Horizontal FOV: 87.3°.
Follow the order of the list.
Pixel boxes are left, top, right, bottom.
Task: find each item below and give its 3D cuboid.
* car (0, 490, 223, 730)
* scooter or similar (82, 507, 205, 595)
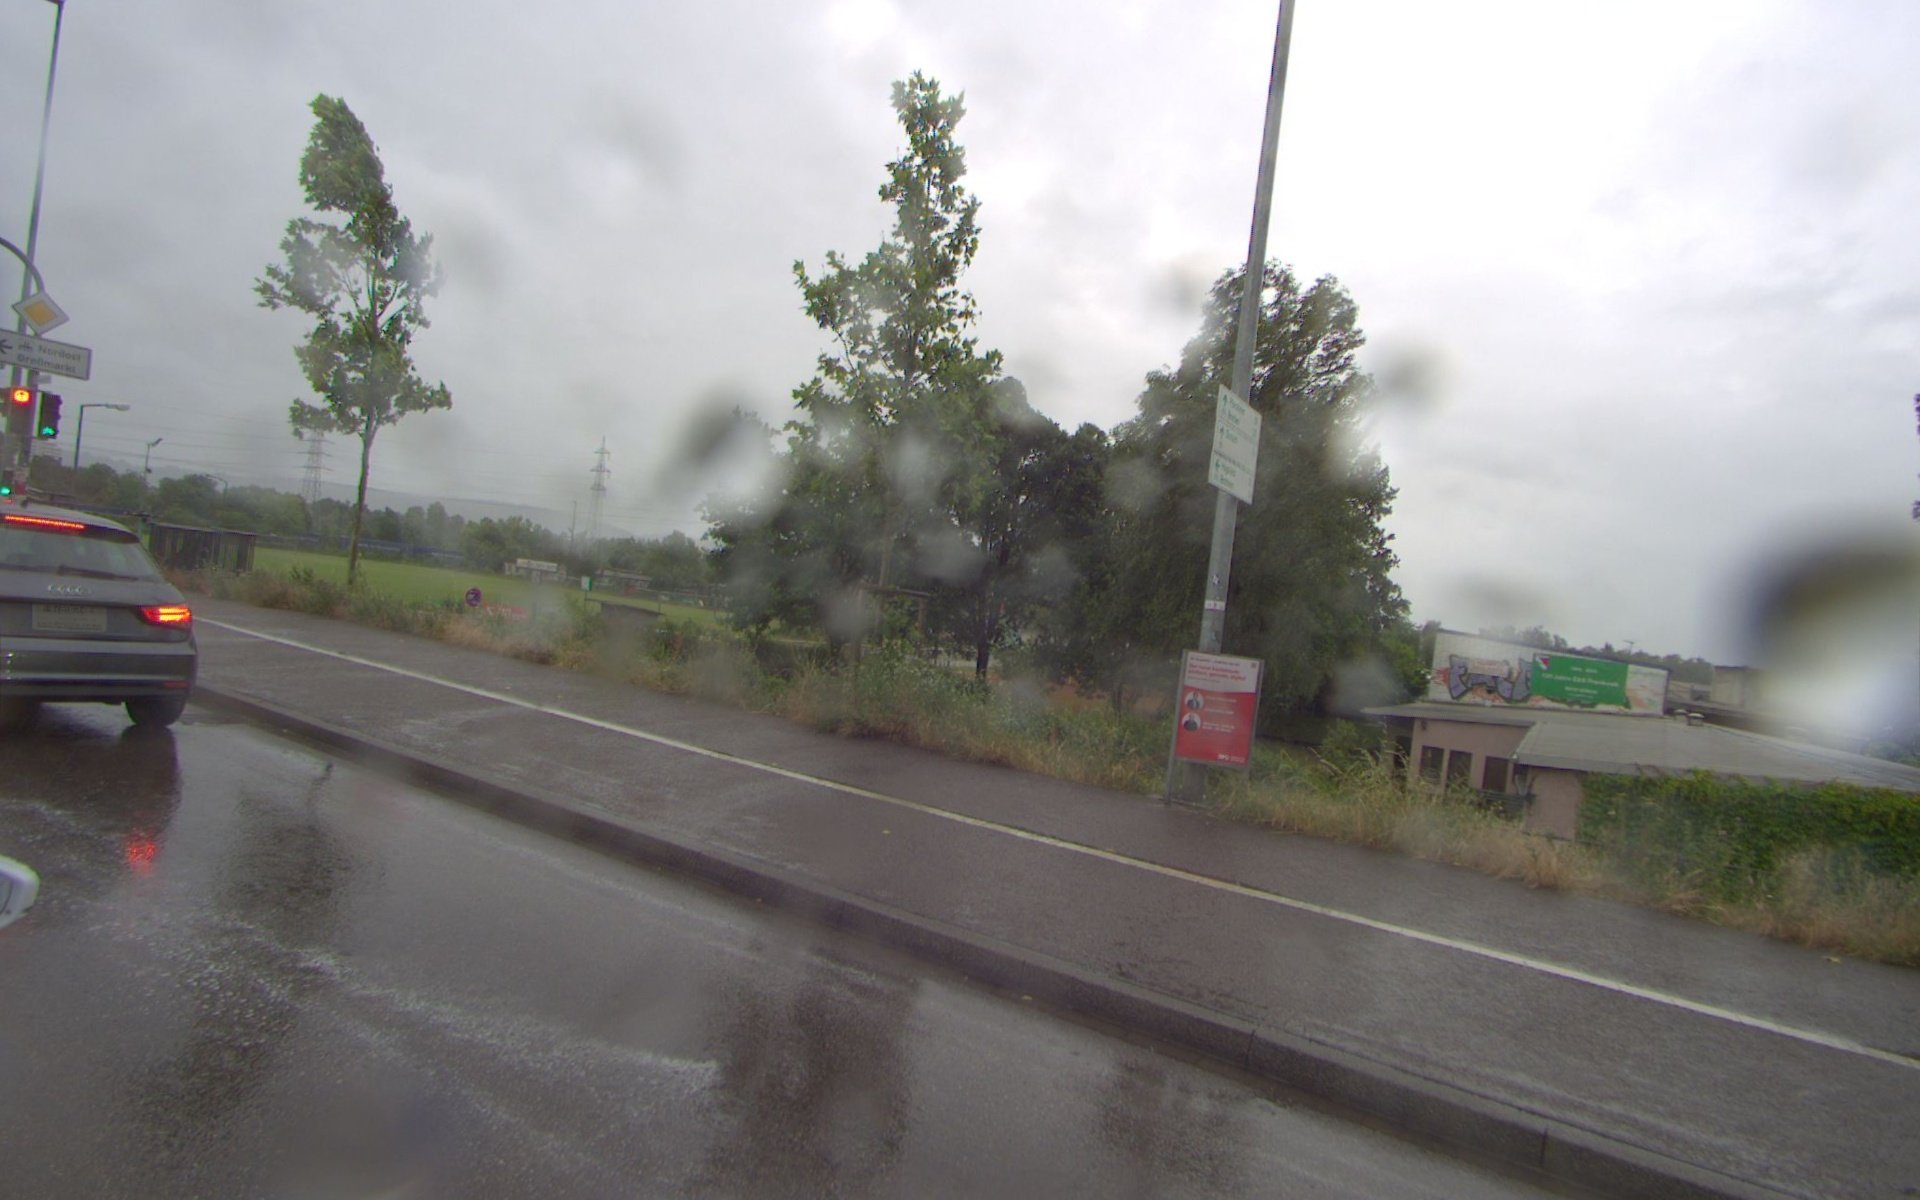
[{"bbox_3d":[-6.933,-0.063,6.935,3.569,1.383,1.600,5,-1,30],"label":"car"},{"bbox_3d":[-14.198,-0.877,17.456,2.971,1.226,0.691,7,0,33],"label":"scooter or similar"}]
